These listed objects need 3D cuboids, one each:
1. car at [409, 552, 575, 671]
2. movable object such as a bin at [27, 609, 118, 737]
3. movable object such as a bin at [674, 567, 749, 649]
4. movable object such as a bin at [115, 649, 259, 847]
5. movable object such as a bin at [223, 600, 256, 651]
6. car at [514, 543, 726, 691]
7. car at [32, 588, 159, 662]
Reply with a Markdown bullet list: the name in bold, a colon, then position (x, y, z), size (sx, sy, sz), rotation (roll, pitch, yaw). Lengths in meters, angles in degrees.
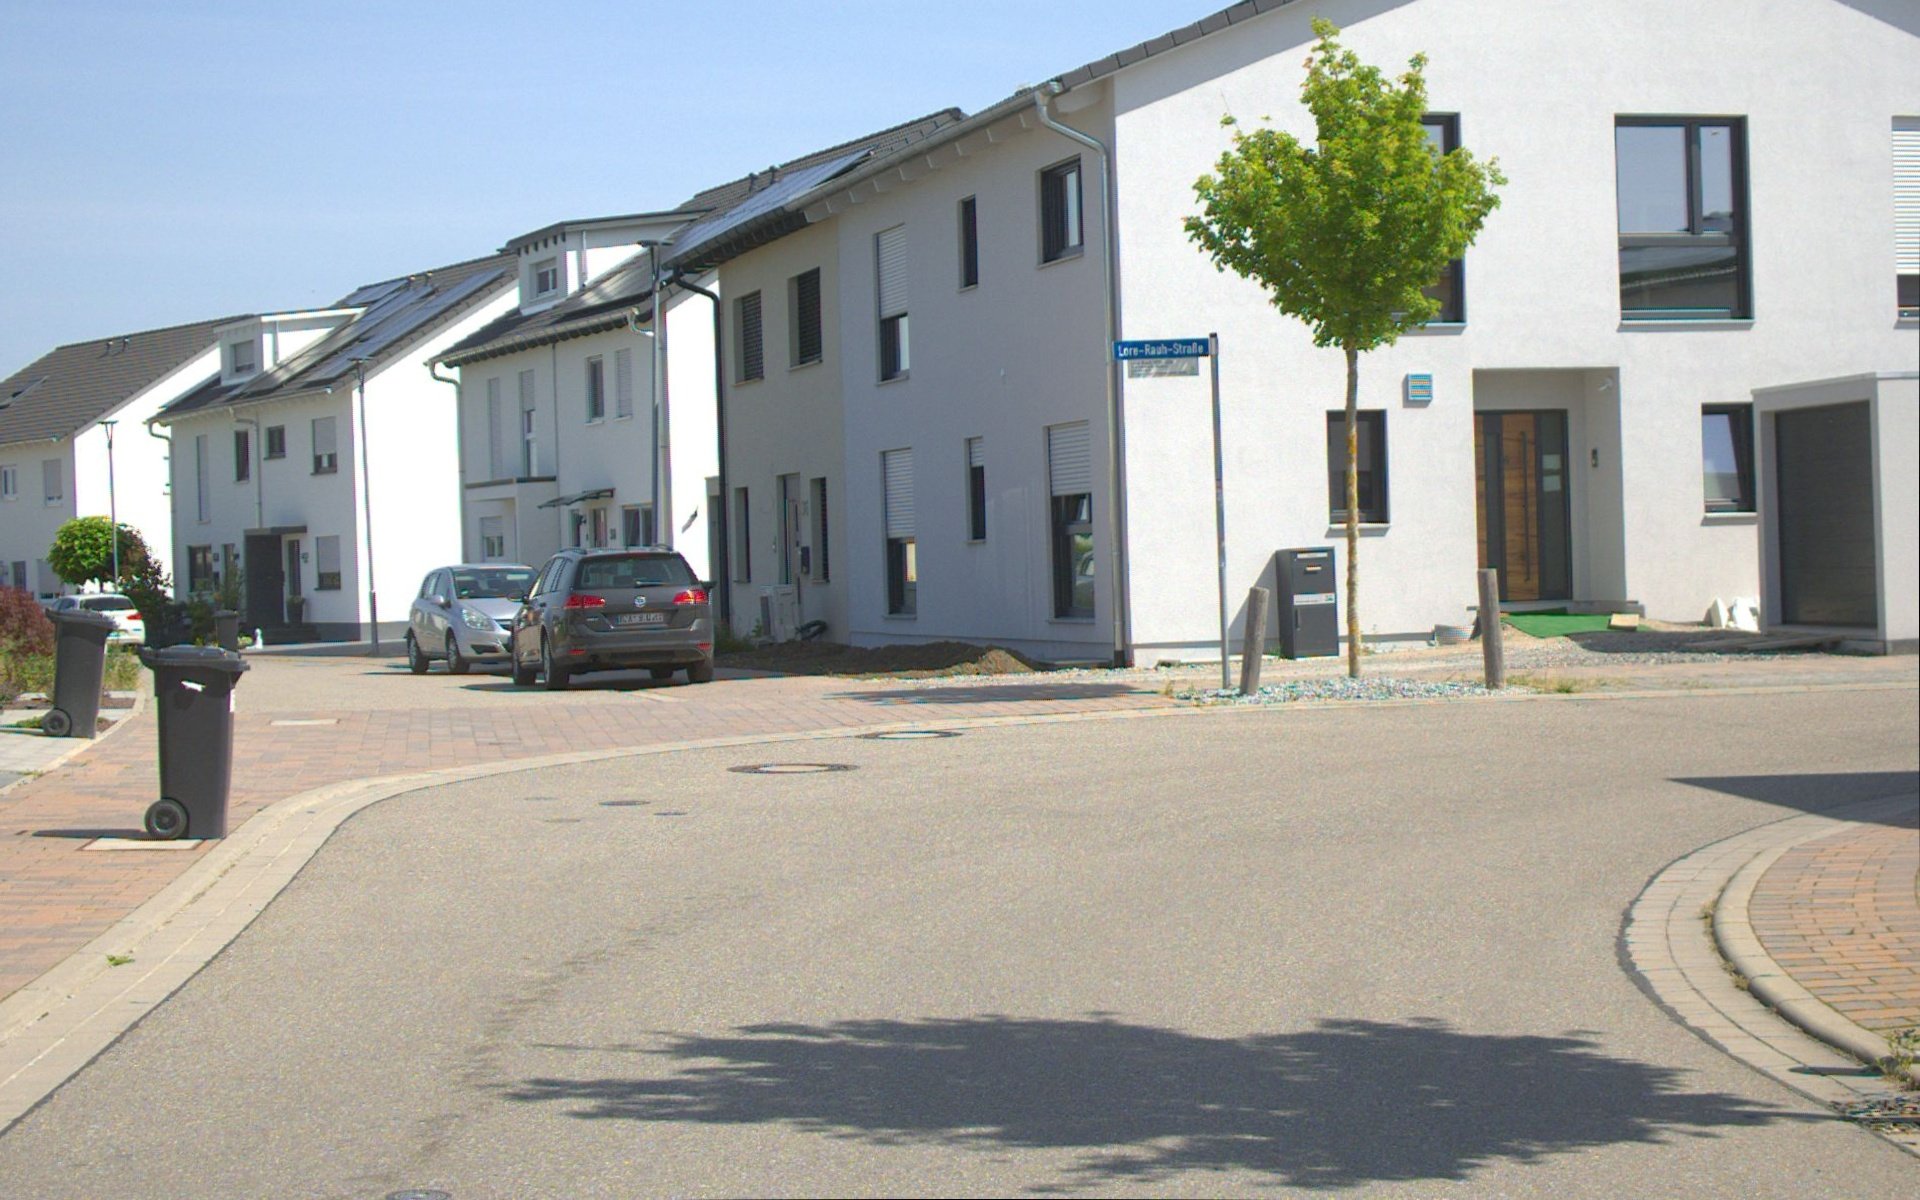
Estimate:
- **car**: position (-6.345, 0.138, 46.320), size (1.676, 1.459, 3.945), rotation (-3, 1, -15)
- **movable object such as a bin**: position (-6.528, 0.535, 25.300), size (0.614, 0.924, 0.423), rotation (1, 0, -11)
- **movable object such as a bin**: position (-3.392, 0.108, 46.851), size (0.784, 1.046, 0.804), rotation (-4, 1, -17)
- **movable object such as a bin**: position (-3.770, 0.715, 16.797), size (0.535, 0.933, 0.526), rotation (0, 1, 8)
- **movable object such as a bin**: position (-13.695, 0.485, 65.345), size (0.557, 0.945, 0.247), rotation (-2, 1, -19)
- **car**: position (-3.677, 0.159, 36.628), size (1.726, 1.418, 4.001), rotation (-2, 1, -13)
- **car**: position (-19.860, 0.574, 78.874), size (1.780, 1.590, 4.000), rotation (-3, 1, -29)
